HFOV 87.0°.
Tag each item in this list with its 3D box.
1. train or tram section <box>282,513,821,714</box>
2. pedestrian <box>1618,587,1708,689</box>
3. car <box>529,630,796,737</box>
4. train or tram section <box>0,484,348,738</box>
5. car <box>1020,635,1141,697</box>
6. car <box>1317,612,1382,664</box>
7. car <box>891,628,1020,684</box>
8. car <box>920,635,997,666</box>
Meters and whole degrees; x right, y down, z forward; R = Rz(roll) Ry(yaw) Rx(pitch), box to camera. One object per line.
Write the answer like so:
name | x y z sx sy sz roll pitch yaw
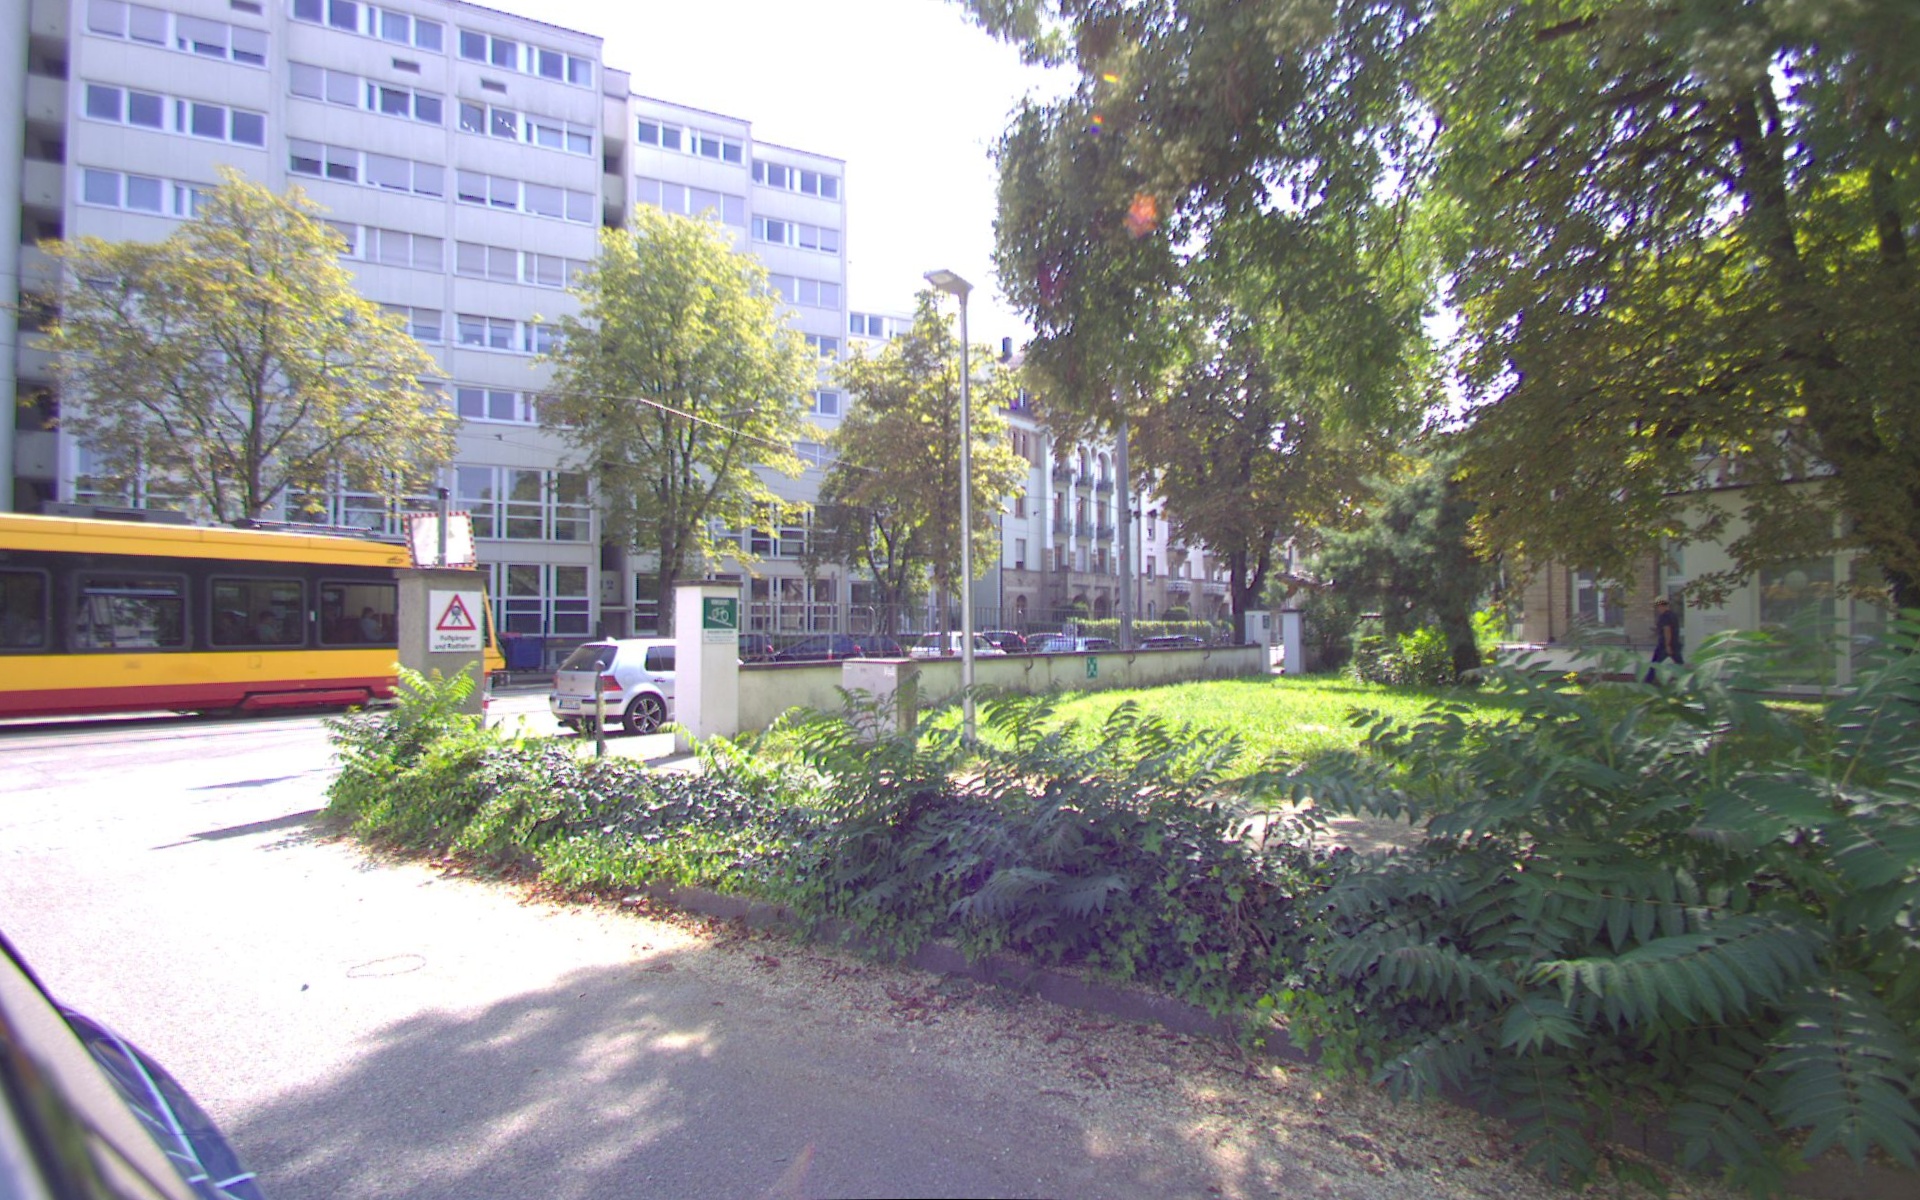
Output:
train or tram section | -8.957 0.376 24.770 3.502 3.732 12.257 -1 -2 37
pedestrian | 13.214 0.711 19.039 0.723 1.842 1.134 1 -3 -27
car | -4.557 1.230 15.883 1.795 1.457 3.684 -3 -4 38
train or tram section | -16.343 0.161 14.796 3.502 3.732 12.257 -1 -2 37
car | 3.243 1.682 26.750 1.643 1.523 3.596 -1 -3 36
car | 18.865 1.833 48.945 1.996 2.383 3.951 -1 -2 36
car | -0.066 1.602 29.822 1.822 1.503 3.970 -2 -2 36
car | -0.100 2.450 49.035 3.615 1.463 1.678 0 -2 -5
